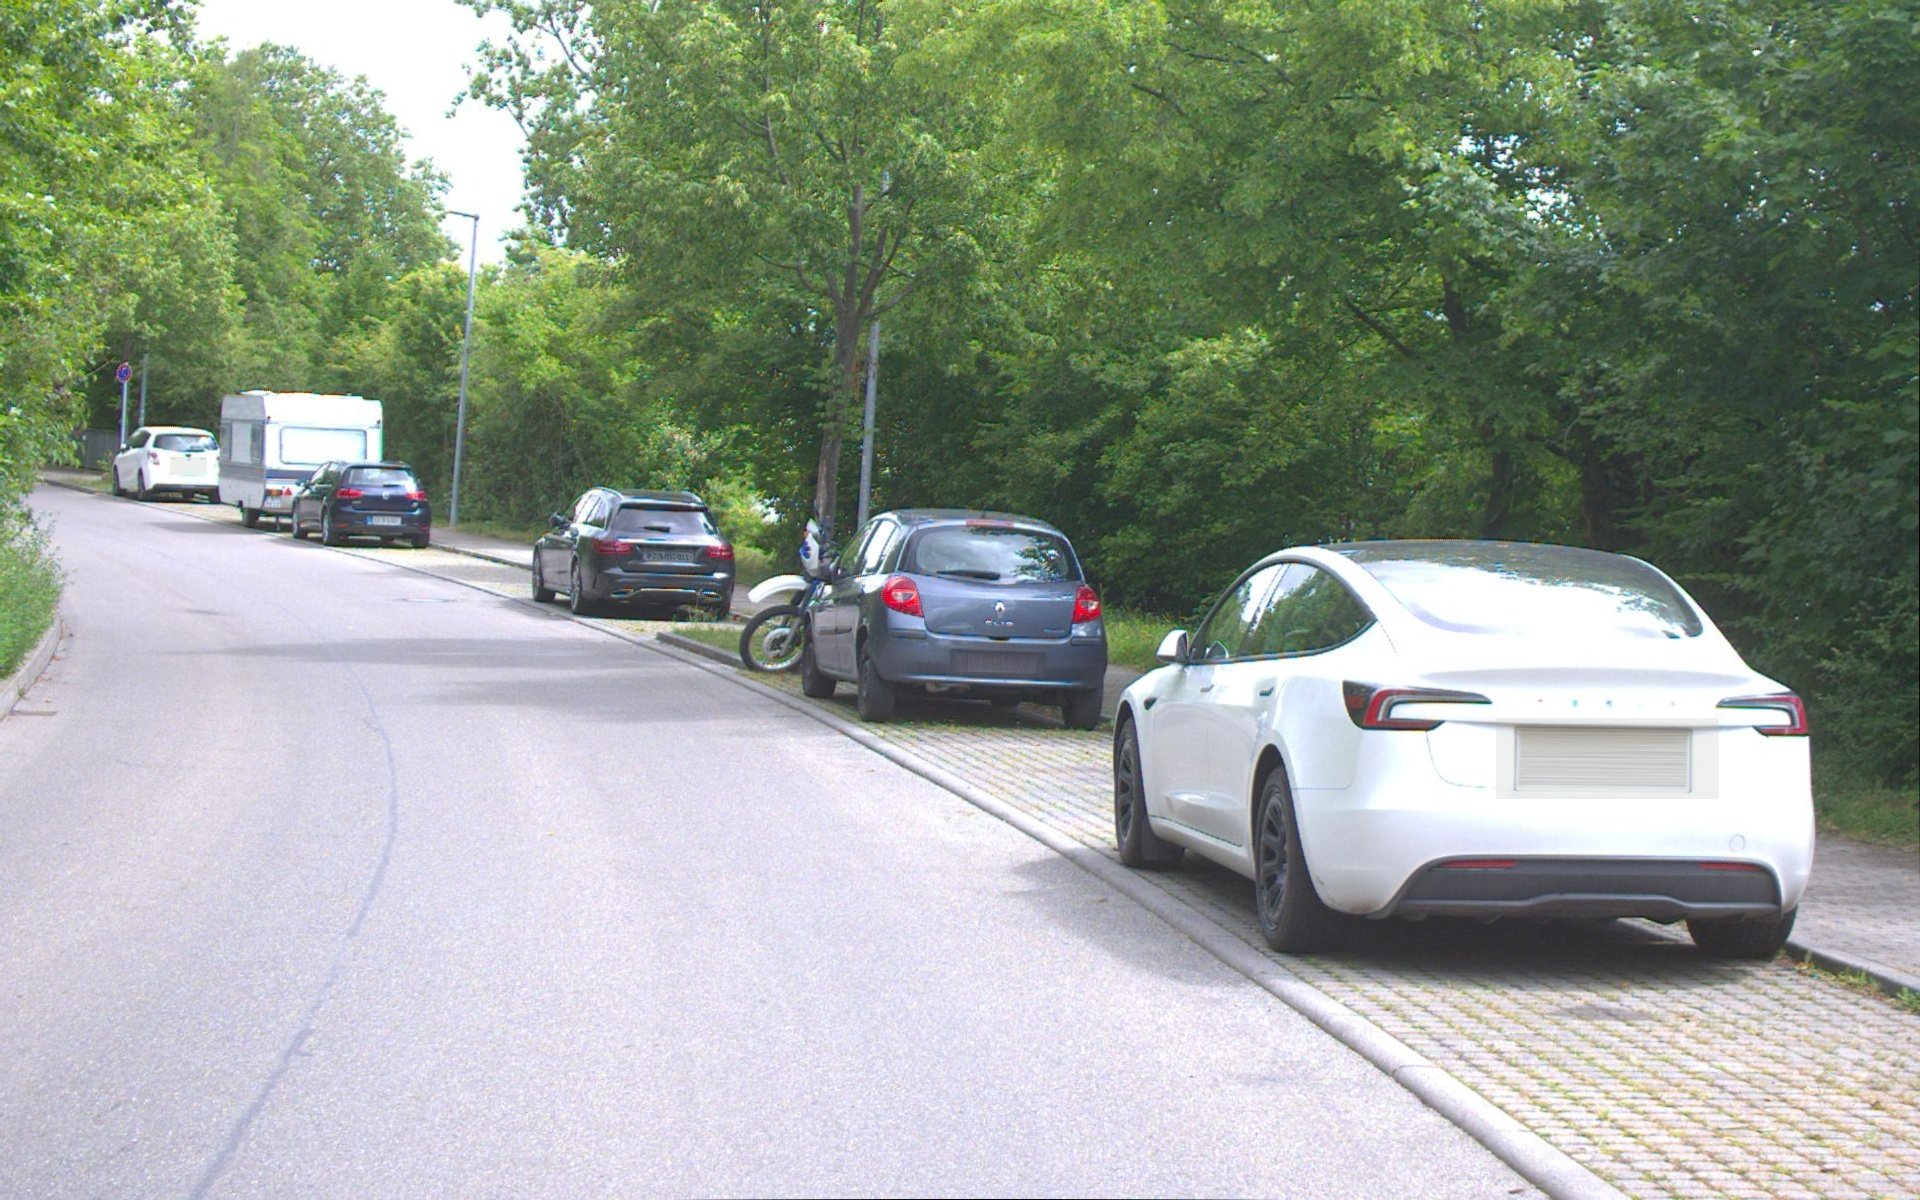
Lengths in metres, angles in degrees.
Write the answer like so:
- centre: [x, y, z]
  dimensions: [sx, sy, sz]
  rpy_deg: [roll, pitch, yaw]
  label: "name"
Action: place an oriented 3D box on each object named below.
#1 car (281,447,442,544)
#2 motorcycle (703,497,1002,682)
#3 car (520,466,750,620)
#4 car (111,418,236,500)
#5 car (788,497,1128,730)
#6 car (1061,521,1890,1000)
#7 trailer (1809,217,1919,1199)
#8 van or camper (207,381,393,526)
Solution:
- centre: [-10.292, -1.816, 58.889]
  dimensions: [1.681, 1.446, 4.482]
  rpy_deg: [2, 3, -23]
  label: "car"
- centre: [-0.895, -0.107, 28.871]
  dimensions: [2.307, 1.470, 0.974]
  rpy_deg: [1, 2, 14]
  label: "motorcycle"
- centre: [-3.892, -0.711, 40.501]
  dimensions: [1.892, 1.524, 4.548]
  rpy_deg: [3, 3, -15]
  label: "car"
- centre: [-17.450, -3.139, 76.120]
  dimensions: [1.804, 1.594, 4.373]
  rpy_deg: [1, 4, -25]
  label: "car"
- centre: [-0.108, 0.039, 25.199]
  dimensions: [1.769, 1.512, 4.109]
  rpy_deg: [2, 1, -10]
  label: "car"
- centre: [1.750, 0.471, 13.535]
  dimensions: [1.862, 1.472, 4.904]
  rpy_deg: [1, 2, -8]
  label: "car"
- centre: [2.700, 0.374, 4.925]
  dimensions: [1.730, 2.071, 3.784]
  rpy_deg: [1, 1, -5]
  label: "trailer"
- centre: [-12.389, -2.777, 64.297]
  dimensions: [2.354, 2.544, 5.076]
  rpy_deg: [1, 3, -23]
  label: "van or camper"
